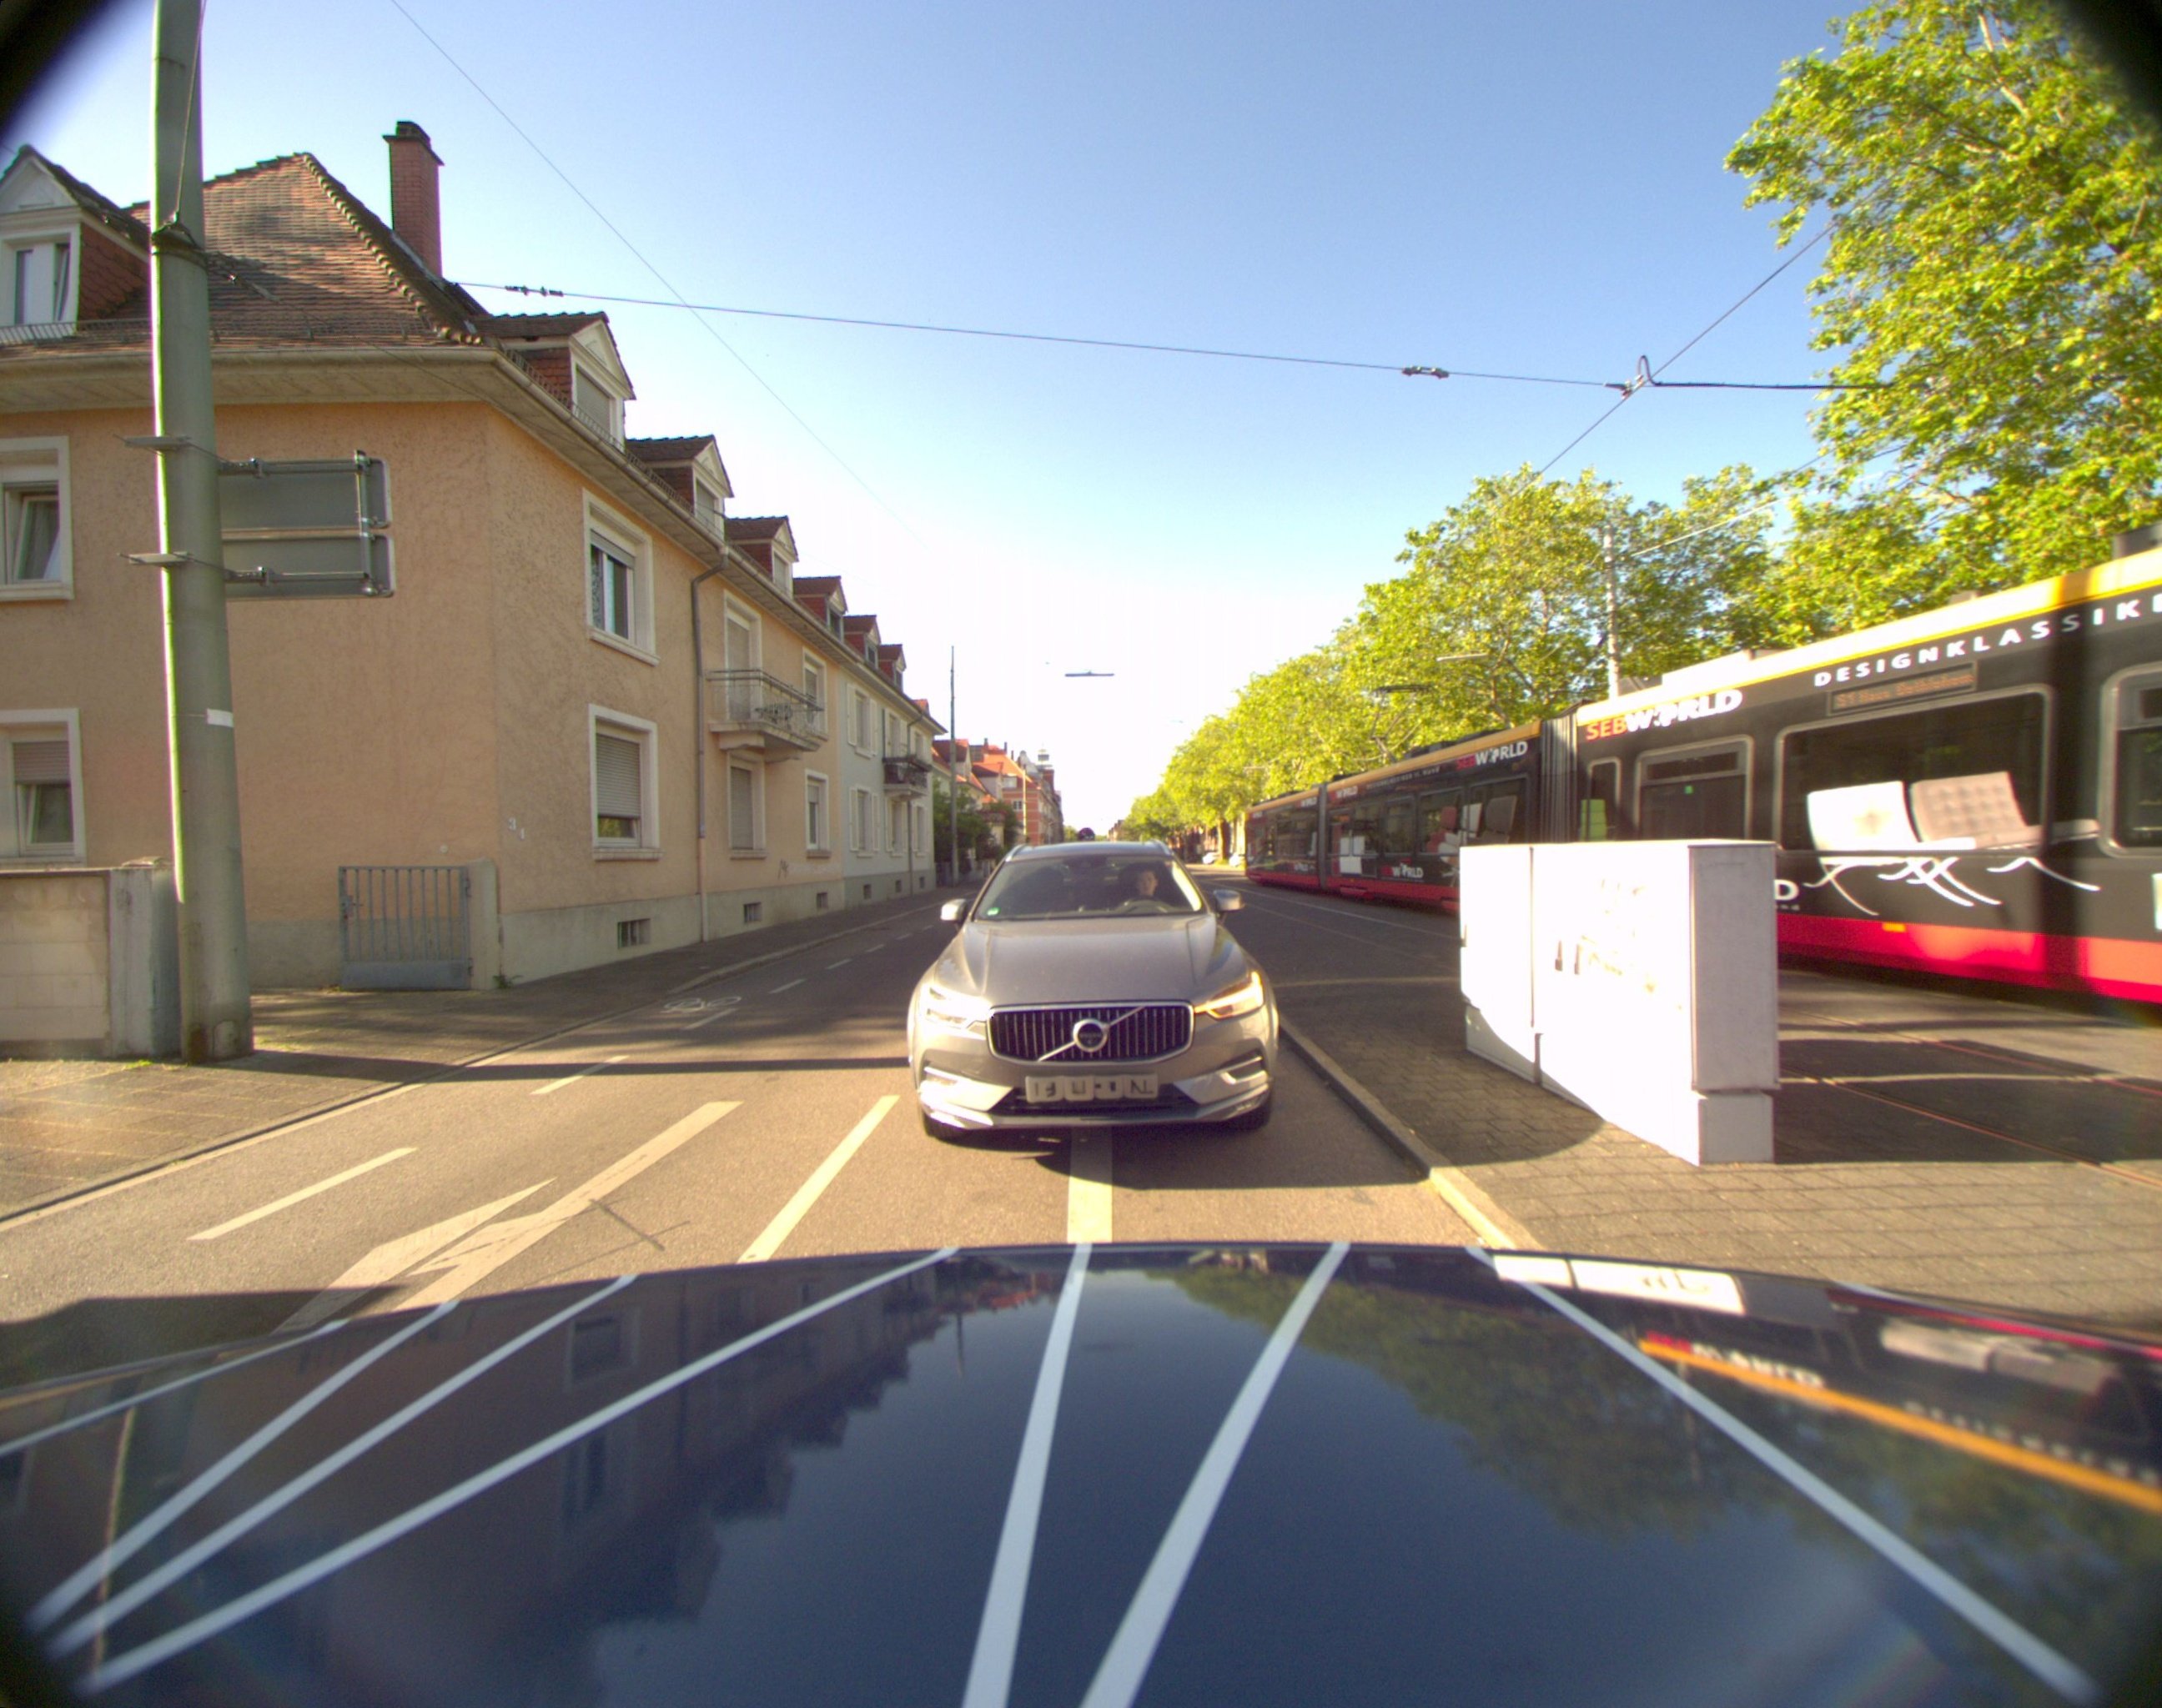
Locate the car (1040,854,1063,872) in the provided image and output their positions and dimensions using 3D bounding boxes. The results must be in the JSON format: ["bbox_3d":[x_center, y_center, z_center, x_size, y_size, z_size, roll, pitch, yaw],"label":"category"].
[{"bbox_3d":[-2.602,0.761,67.411,1.882,1.477,3.999,-1,0,-1],"label":"car"}]

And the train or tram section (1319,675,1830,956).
[{"bbox_3d":[8.284,-0.521,15.851,3.063,3.592,11.949,-1,0,1],"label":"train or tram section"}]

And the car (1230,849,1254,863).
[{"bbox_3d":[17.720,0.203,83.682,1.882,1.542,4.000,-1,0,2],"label":"car"}]

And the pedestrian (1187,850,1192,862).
[{"bbox_3d":[15.578,0.266,109.208,0.578,1.632,0.677,-1,1,3],"label":"pedestrian"}]

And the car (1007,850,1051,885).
[{"bbox_3d":[-2.893,0.720,43.044,1.932,1.834,5.313,-1,0,2],"label":"car"}]

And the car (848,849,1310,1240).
[{"bbox_3d":[0.024,0.799,5.454,1.917,1.621,4.502,-1,0,1],"label":"car"}]

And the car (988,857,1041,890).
[{"bbox_3d":[-3.202,0.915,37.181,1.881,1.477,4.001,-1,0,5],"label":"car"}]

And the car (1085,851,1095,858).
[{"bbox_3d":[1.878,0.053,160.685,1.882,1.477,3.999,-1,0,-1],"label":"car"}]

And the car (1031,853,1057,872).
[{"bbox_3d":[-2.930,0.648,61.184,1.882,1.477,3.999,-1,0,-1],"label":"car"}]

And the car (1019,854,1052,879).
[{"bbox_3d":[-2.826,0.777,48.363,1.882,1.477,3.999,-1,0,-1],"label":"car"}]

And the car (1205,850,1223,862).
[{"bbox_3d":[17.644,0.251,100.873,1.882,1.542,4.000,-1,0,2],"label":"car"}]

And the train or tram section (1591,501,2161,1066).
[{"bbox_3d":[8.457,-0.465,3.852,3.064,3.592,12.110,-1,0,-3],"label":"train or tram section"}]

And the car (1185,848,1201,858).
[{"bbox_3d":[18.536,-0.119,125.685,1.882,1.542,3.999,-1,0,-2],"label":"car"}]

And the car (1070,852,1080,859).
[{"bbox_3d":[-1.096,0.294,148.537,1.882,1.477,3.999,-1,0,-1],"label":"car"}]

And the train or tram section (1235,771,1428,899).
[{"bbox_3d":[8.476,-0.576,28.211,3.063,3.592,12.889,-1,0,1],"label":"train or tram section"}]

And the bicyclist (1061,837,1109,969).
[{"bbox_3d":[0.056,0.638,10.226,0.600,1.709,0.662,-1,1,1],"label":"bicyclist"}]

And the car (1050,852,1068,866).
[{"bbox_3d":[-2.433,0.539,85.695,1.882,1.477,3.999,-1,0,-1],"label":"car"}]
